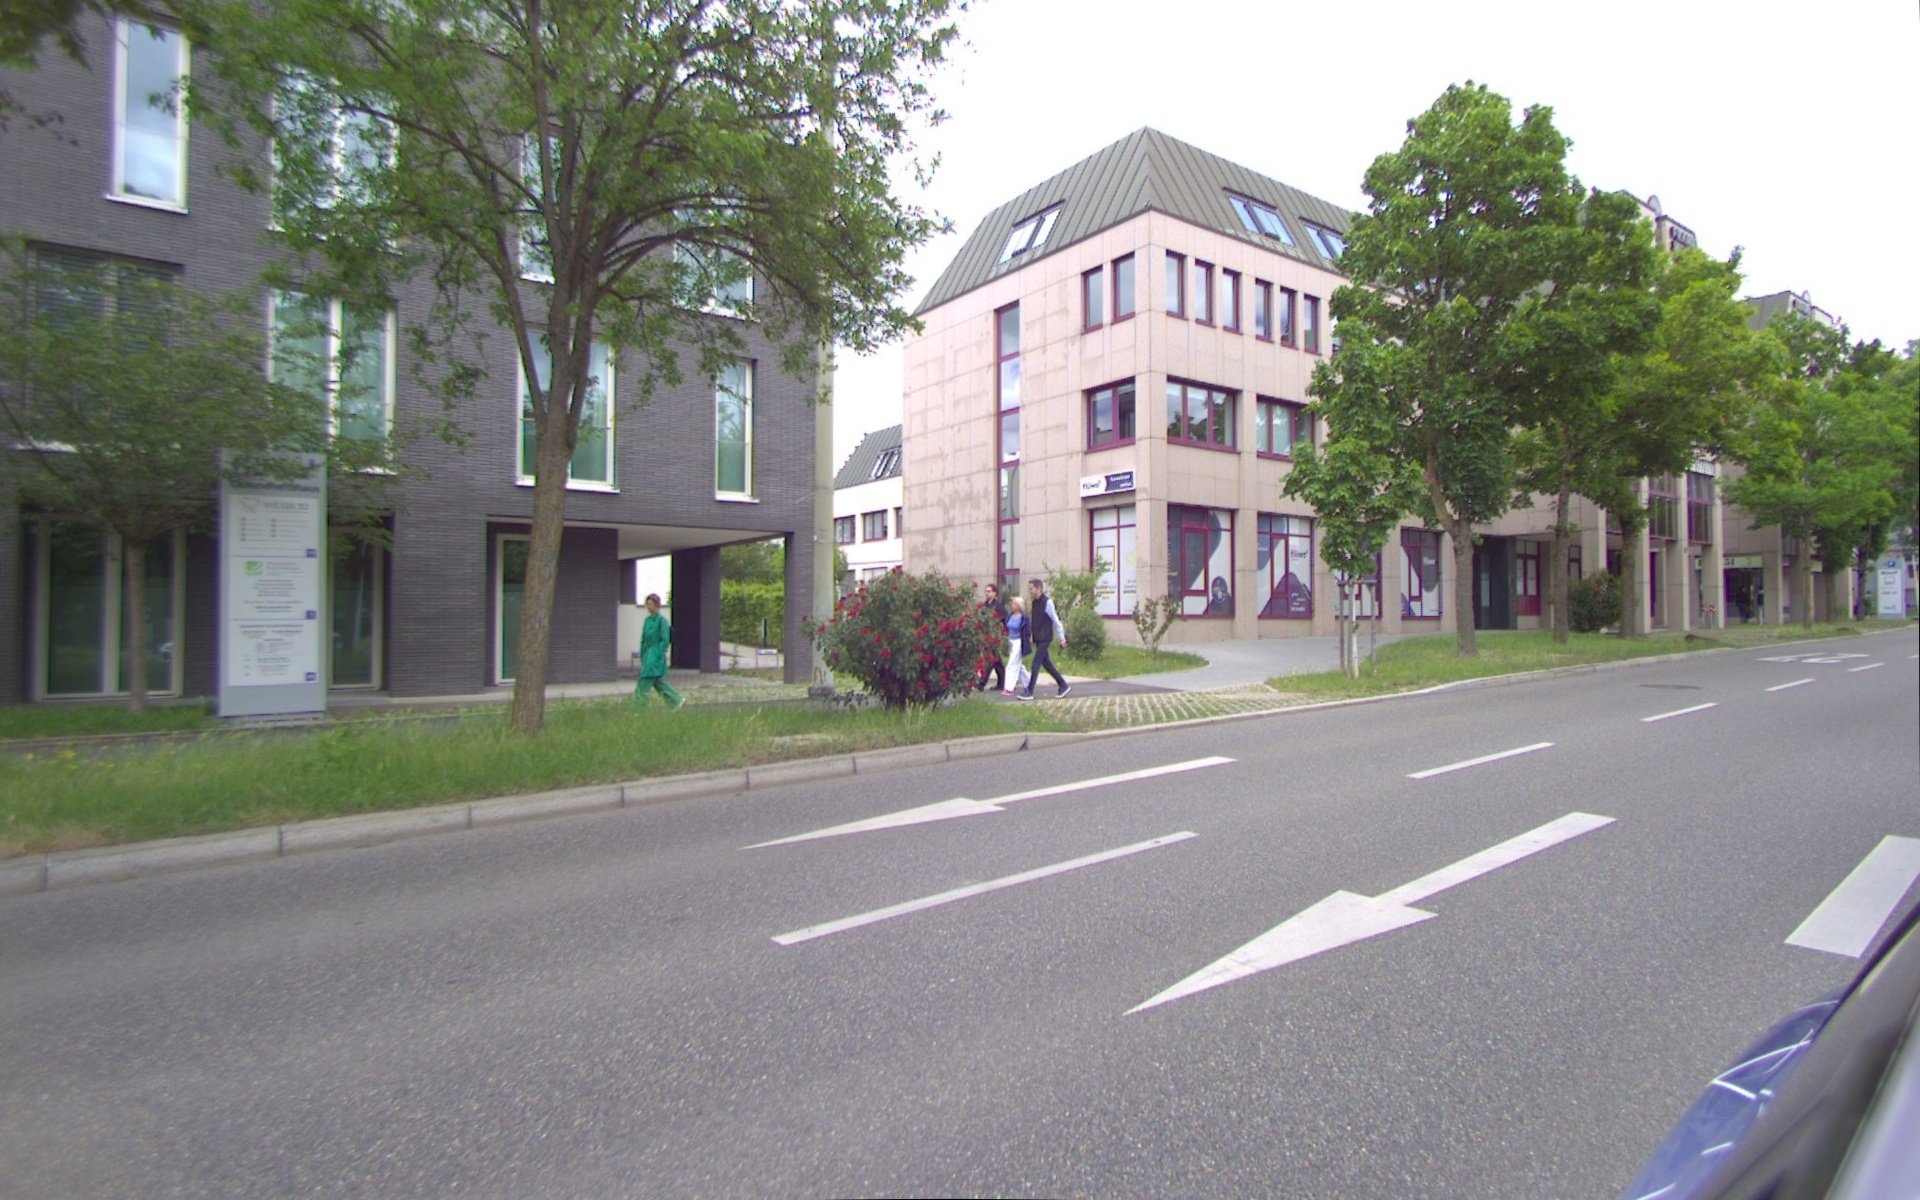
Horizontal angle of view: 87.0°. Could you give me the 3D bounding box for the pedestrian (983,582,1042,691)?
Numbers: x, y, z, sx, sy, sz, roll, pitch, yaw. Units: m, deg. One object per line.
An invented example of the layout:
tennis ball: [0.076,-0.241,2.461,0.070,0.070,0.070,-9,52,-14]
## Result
pedestrian: [0.822,0.553,15.893,0.665,1.668,0.642,0,0,-40]

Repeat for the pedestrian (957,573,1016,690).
pedestrian: [0.423,0.484,16.199,0.665,1.828,0.642,0,-1,-40]

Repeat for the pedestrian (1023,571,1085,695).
pedestrian: [1.421,0.487,15.354,0.665,1.828,0.642,0,-1,-40]

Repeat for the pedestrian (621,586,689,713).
pedestrian: [-3.833,0.597,12.724,0.665,1.537,0.496,0,2,-40]
